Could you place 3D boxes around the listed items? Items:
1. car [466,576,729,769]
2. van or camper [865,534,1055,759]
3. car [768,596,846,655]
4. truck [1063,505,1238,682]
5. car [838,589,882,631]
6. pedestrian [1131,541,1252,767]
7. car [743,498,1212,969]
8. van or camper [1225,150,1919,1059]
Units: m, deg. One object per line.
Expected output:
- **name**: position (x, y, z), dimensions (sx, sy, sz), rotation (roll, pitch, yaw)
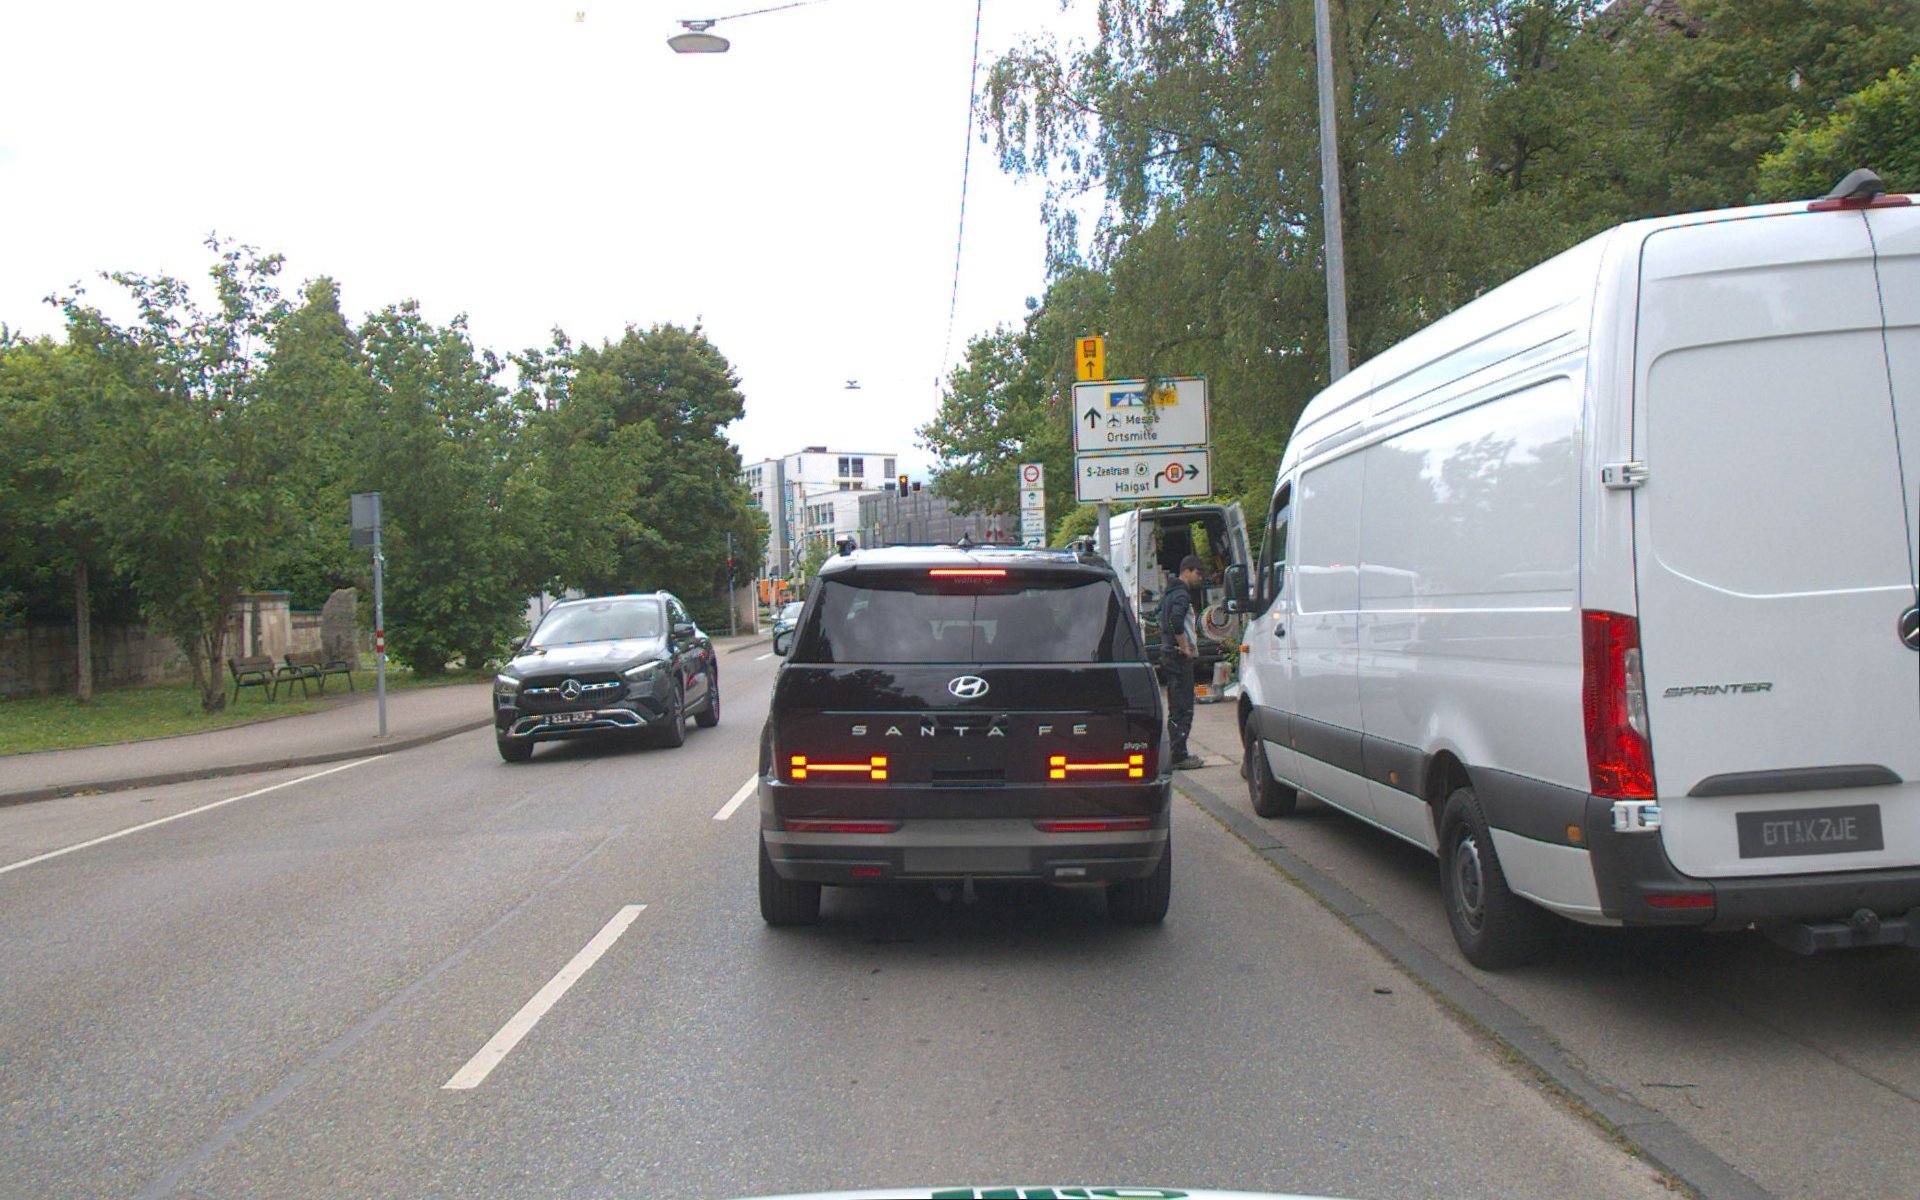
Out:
- **car**: position (-3.713, 0.676, 17.732), dimensions (1.822, 1.686, 4.305), rotation (-4, 0, -1)
- **van or camper**: position (-0.028, 0.425, 17.488), dimensions (1.719, 2.049, 3.999), rotation (-2, 0, -1)
- **car**: position (-4.379, 0.700, 47.897), dimensions (1.822, 1.478, 4.110), rotation (-4, 0, -1)
- **truck**: position (3.097, -0.090, 28.083), dimensions (1.904, 2.606, 5.212), rotation (-3, 0, -4)
- **car**: position (-4.360, 0.422, 72.732), dimensions (1.749, 1.682, 4.118), rotation (-4, 0, -2)
- **pedestrian**: position (1.938, 0.439, 13.961), dimensions (0.852, 1.828, 0.759), rotation (-2, 0, -2)
- **car**: position (0.043, 0.519, 8.545), dimensions (1.851, 1.851, 3.999), rotation (0, 0, -1)
- **van or camper**: position (2.895, -0.016, 8.184), dimensions (1.953, 2.665, 6.540), rotation (-2, 0, -1)
